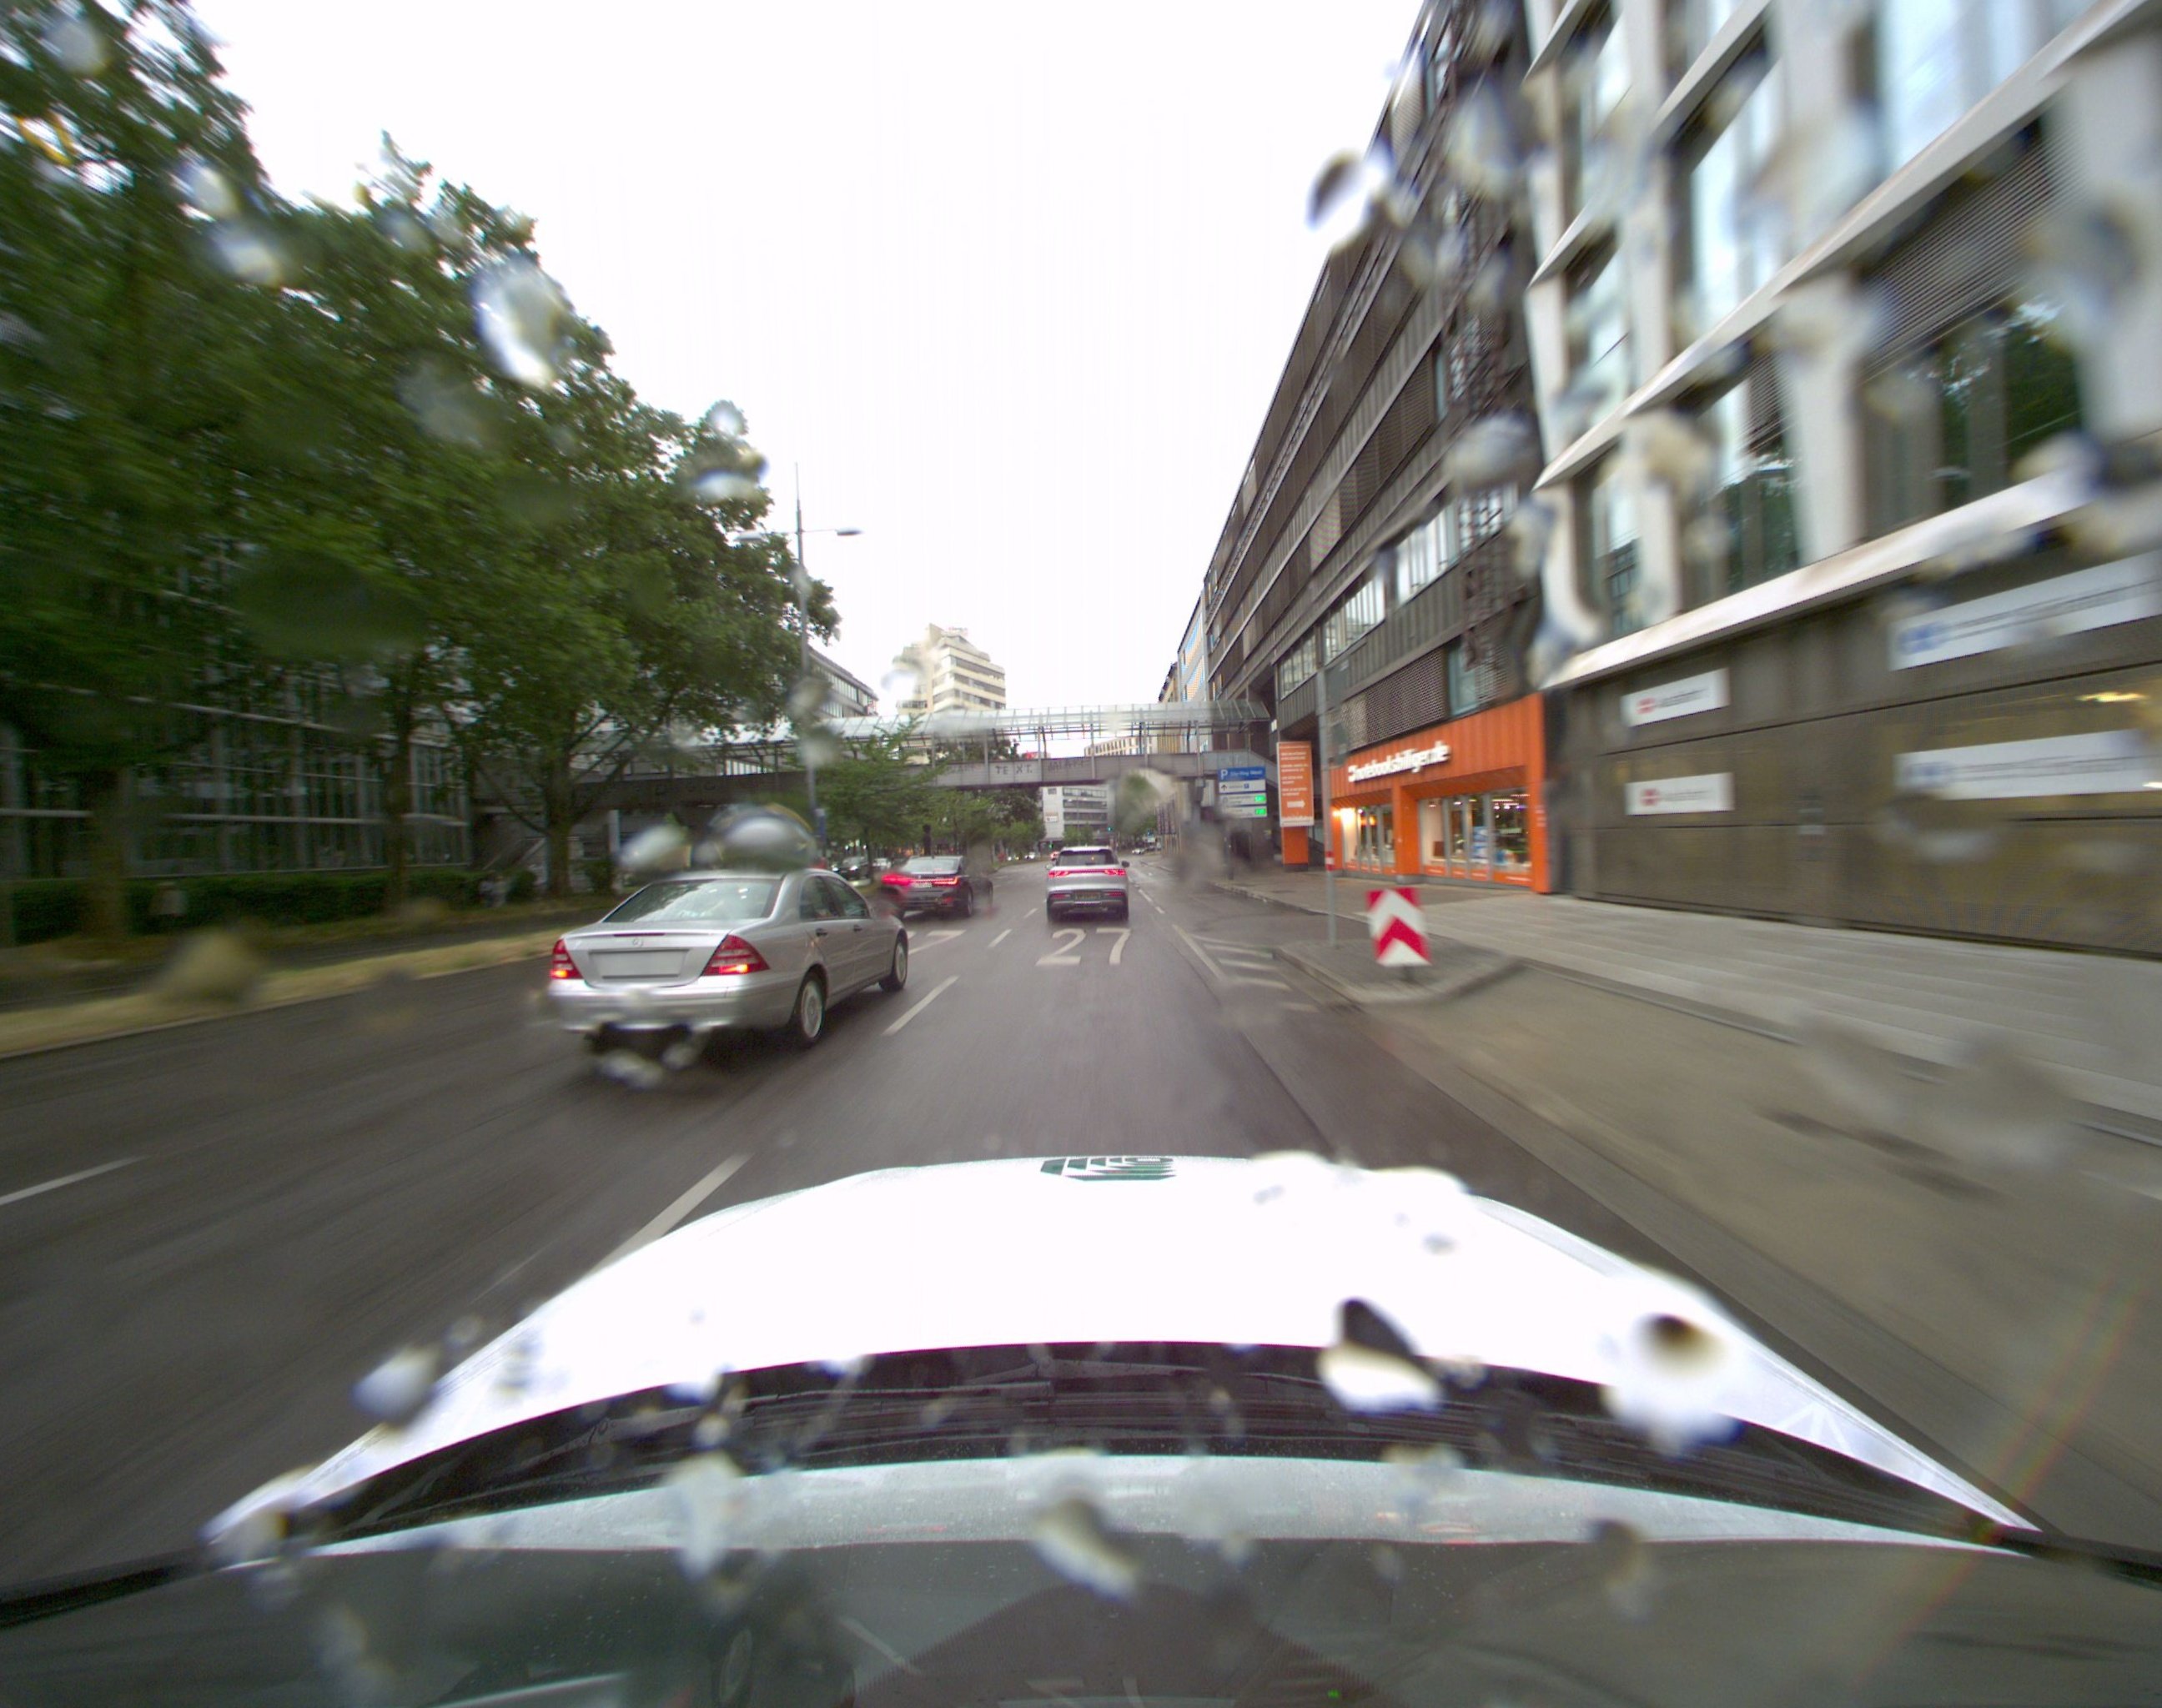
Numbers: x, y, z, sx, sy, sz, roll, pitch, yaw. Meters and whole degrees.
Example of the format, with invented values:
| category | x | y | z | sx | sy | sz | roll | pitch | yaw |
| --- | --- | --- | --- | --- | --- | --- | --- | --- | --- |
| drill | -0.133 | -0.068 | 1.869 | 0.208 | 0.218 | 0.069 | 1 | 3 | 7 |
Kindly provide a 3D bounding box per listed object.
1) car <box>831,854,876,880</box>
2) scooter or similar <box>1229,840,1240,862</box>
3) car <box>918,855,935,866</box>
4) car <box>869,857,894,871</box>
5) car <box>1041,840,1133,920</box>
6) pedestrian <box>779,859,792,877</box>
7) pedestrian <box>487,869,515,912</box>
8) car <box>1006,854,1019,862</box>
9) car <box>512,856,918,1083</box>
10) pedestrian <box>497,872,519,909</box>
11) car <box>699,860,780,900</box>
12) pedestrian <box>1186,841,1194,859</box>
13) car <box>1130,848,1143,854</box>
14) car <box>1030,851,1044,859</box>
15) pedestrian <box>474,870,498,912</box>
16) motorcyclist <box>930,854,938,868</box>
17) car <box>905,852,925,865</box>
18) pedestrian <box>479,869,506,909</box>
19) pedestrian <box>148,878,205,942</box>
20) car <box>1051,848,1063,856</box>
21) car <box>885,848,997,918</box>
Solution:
| category | x | y | z | sx | sy | sz | roll | pitch | yaw |
| --- | --- | --- | --- | --- | --- | --- | --- | --- | --- |
| car | -17.911 | 0.971 | 64.437 | 1.994 | 1.768 | 5.183 | -5 | 0 | -1 |
| scooter or similar | 9.001 | -0.183 | 47.844 | 0.348 | 1.255 | 1.395 | -2 | 0 | 1 |
| car | -21.221 | 0.858 | 111.796 | 1.618 | 1.460 | 3.962 | -1 | 0 | 0 |
| car | -21.683 | 1.061 | 88.699 | 1.618 | 1.432 | 4.444 | -2 | 0 | 0 |
| car | 0.177 | 0.544 | 19.082 | 1.894 | 1.621 | 4.001 | -2 | 0 | 1 |
| pedestrian | -29.112 | 1.358 | 80.229 | 0.740 | 1.715 | 1.057 | -2 | 0 | 0 |
| pedestrian | -25.472 | 1.598 | 35.788 | 0.594 | 1.807 | 0.760 | -2 | 0 | 1 |
| car | -11.635 | 0.691 | 138.561 | 1.616 | 1.311 | 3.622 | -3 | 0 | 4 |
| car | -2.888 | 0.786 | 7.618 | 1.666 | 1.479 | 4.362 | -1 | -1 | 2 |
| pedestrian | -26.584 | 1.677 | 37.775 | 0.557 | 1.686 | 0.511 | -2 | 0 | 1 |
| car | -14.626 | 1.084 | 35.106 | 1.657 | 1.464 | 4.080 | -4 | 0 | 0 |
| pedestrian | 10.623 | -0.400 | 79.306 | 0.633 | 1.772 | 0.790 | -2 | -1 | 1 |
| car | 14.279 | -0.716 | 208.400 | 1.565 | 1.538 | 4.026 | -2 | 0 | 32 |
| car | -8.955 | 0.142 | 164.757 | 1.612 | 1.492 | 4.321 | -3 | 0 | 12 |
| pedestrian | -26.097 | 1.607 | 35.728 | 0.603 | 1.807 | 0.511 | -2 | 0 | 1 |
| motorcyclist | -16.047 | 0.748 | 88.795 | 0.635 | 1.418 | 0.970 | -2 | -1 | 2 |
| car | -21.506 | 0.593 | 105.702 | 1.618 | 1.611 | 4.231 | -1 | 0 | 0 |
| pedestrian | -27.265 | 1.613 | 37.754 | 0.720 | 1.807 | 0.618 | -2 | 0 | 1 |
| pedestrian | -26.766 | 1.630 | 24.112 | 0.732 | 1.807 | 0.803 | -2 | 0 | 1 |
| car | -3.923 | -0.322 | 135.353 | 1.646 | 1.342 | 4.003 | -2 | 0 | 3 |
| car | -3.377 | 0.685 | 20.601 | 1.866 | 1.479 | 4.878 | -2 | -1 | 1 |
